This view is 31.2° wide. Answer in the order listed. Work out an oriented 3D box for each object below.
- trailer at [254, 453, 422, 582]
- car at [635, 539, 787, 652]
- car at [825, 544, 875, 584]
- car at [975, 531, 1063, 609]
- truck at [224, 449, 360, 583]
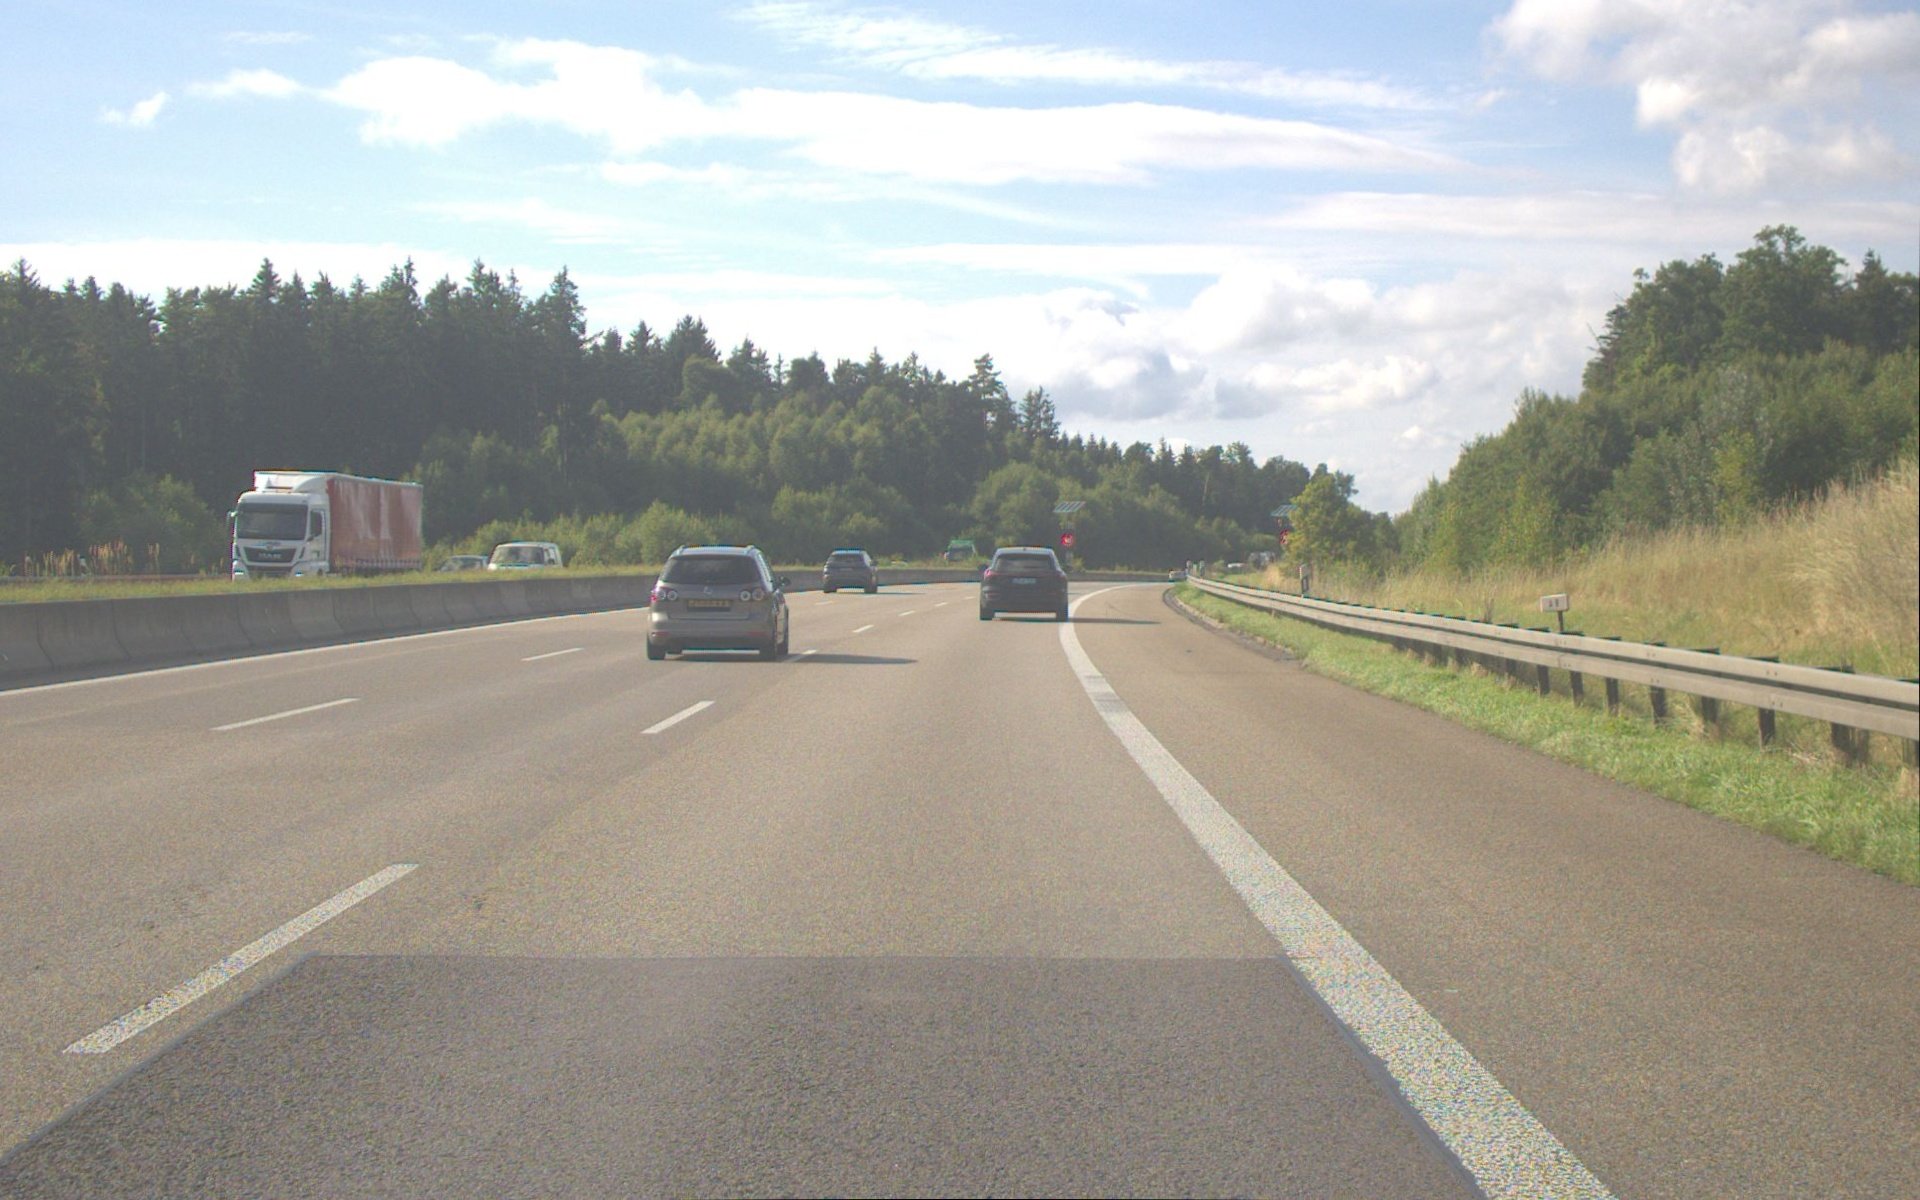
[{"bbox_3d":[-20.863,-2.731,116.124,3.021,4.094,12.791,1,1,2],"label":"trailer"},{"bbox_3d":[-3.430,-0.092,47.945,1.873,1.492,3.880,1,1,-1],"label":"car"},{"bbox_3d":[-4.258,-1.399,132.627,1.873,1.492,3.880,1,1,-2],"label":"car"},{"bbox_3d":[1.299,-0.685,76.343,1.873,1.669,3.890,1,1,1],"label":"car"},{"bbox_3d":[-21.063,-2.623,108.639,3.024,4.094,5.668,1,1,2],"label":"truck"}]
